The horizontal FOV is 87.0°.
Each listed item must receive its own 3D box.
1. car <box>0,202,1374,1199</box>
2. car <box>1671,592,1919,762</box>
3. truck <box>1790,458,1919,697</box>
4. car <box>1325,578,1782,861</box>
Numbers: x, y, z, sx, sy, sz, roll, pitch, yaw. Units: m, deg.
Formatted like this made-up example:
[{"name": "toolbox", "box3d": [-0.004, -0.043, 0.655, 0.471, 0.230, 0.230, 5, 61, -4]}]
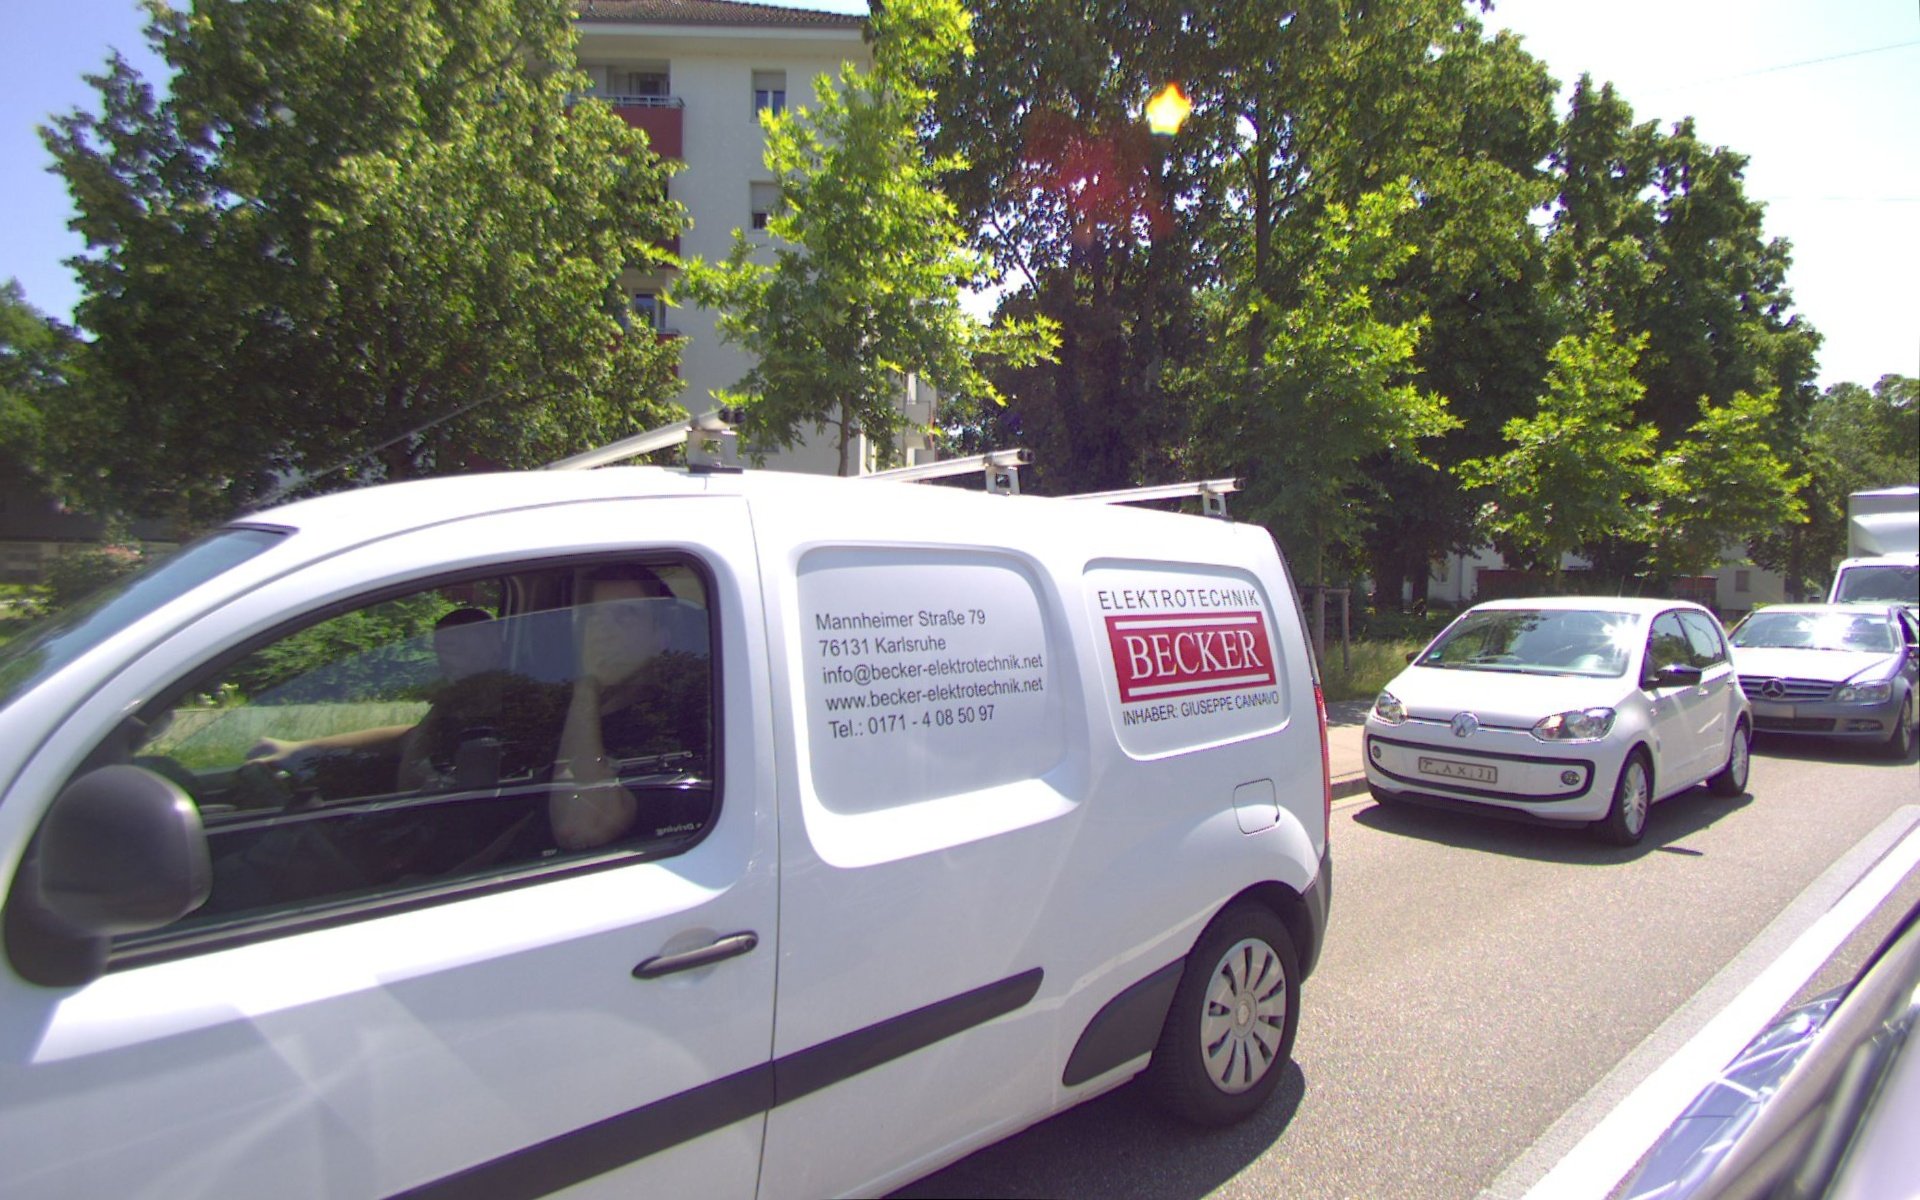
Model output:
[{"name": "car", "box3d": [-0.998, 0.453, 2.532, 4.370, 1.849, 1.997, 0, 1, -41]}, {"name": "car", "box3d": [9.229, 0.654, 10.735, 4.016, 1.426, 1.839, 0, 1, -41]}, {"name": "truck", "box3d": [16.513, -0.338, 16.970, 7.778, 3.387, 2.434, 0, 1, -39]}, {"name": "car", "box3d": [4.396, 0.621, 7.285, 3.705, 1.497, 1.729, 0, 1, -41]}]
